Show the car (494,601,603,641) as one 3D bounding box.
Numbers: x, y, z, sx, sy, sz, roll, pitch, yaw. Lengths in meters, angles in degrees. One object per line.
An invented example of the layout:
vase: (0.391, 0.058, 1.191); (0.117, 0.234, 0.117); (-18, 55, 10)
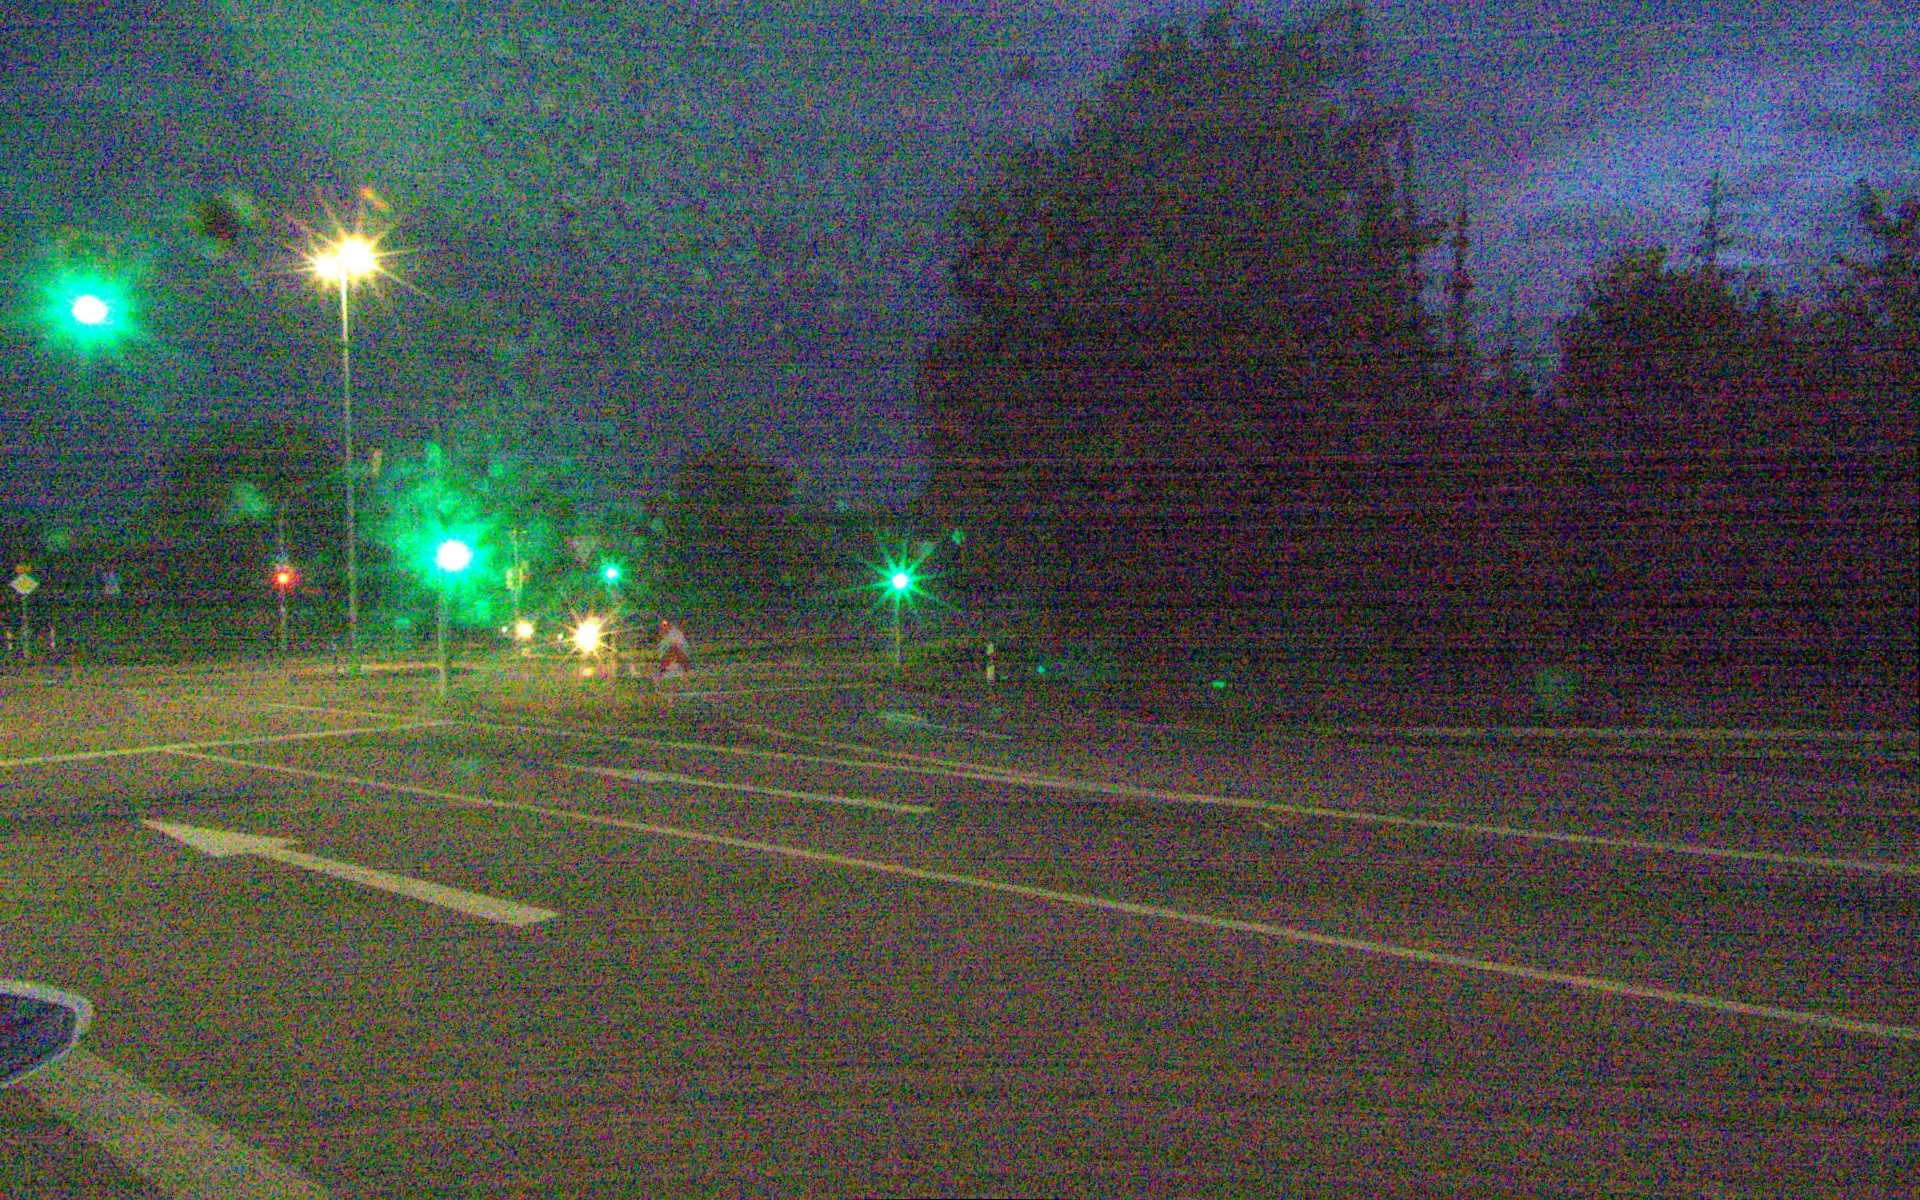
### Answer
car: (-17.171, 0.863, 41.964); (1.871, 1.590, 3.983); (0, 0, 29)

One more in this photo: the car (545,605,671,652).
car: (-12.718, 1.009, 36.423); (1.972, 1.590, 4.070); (0, -1, 29)
